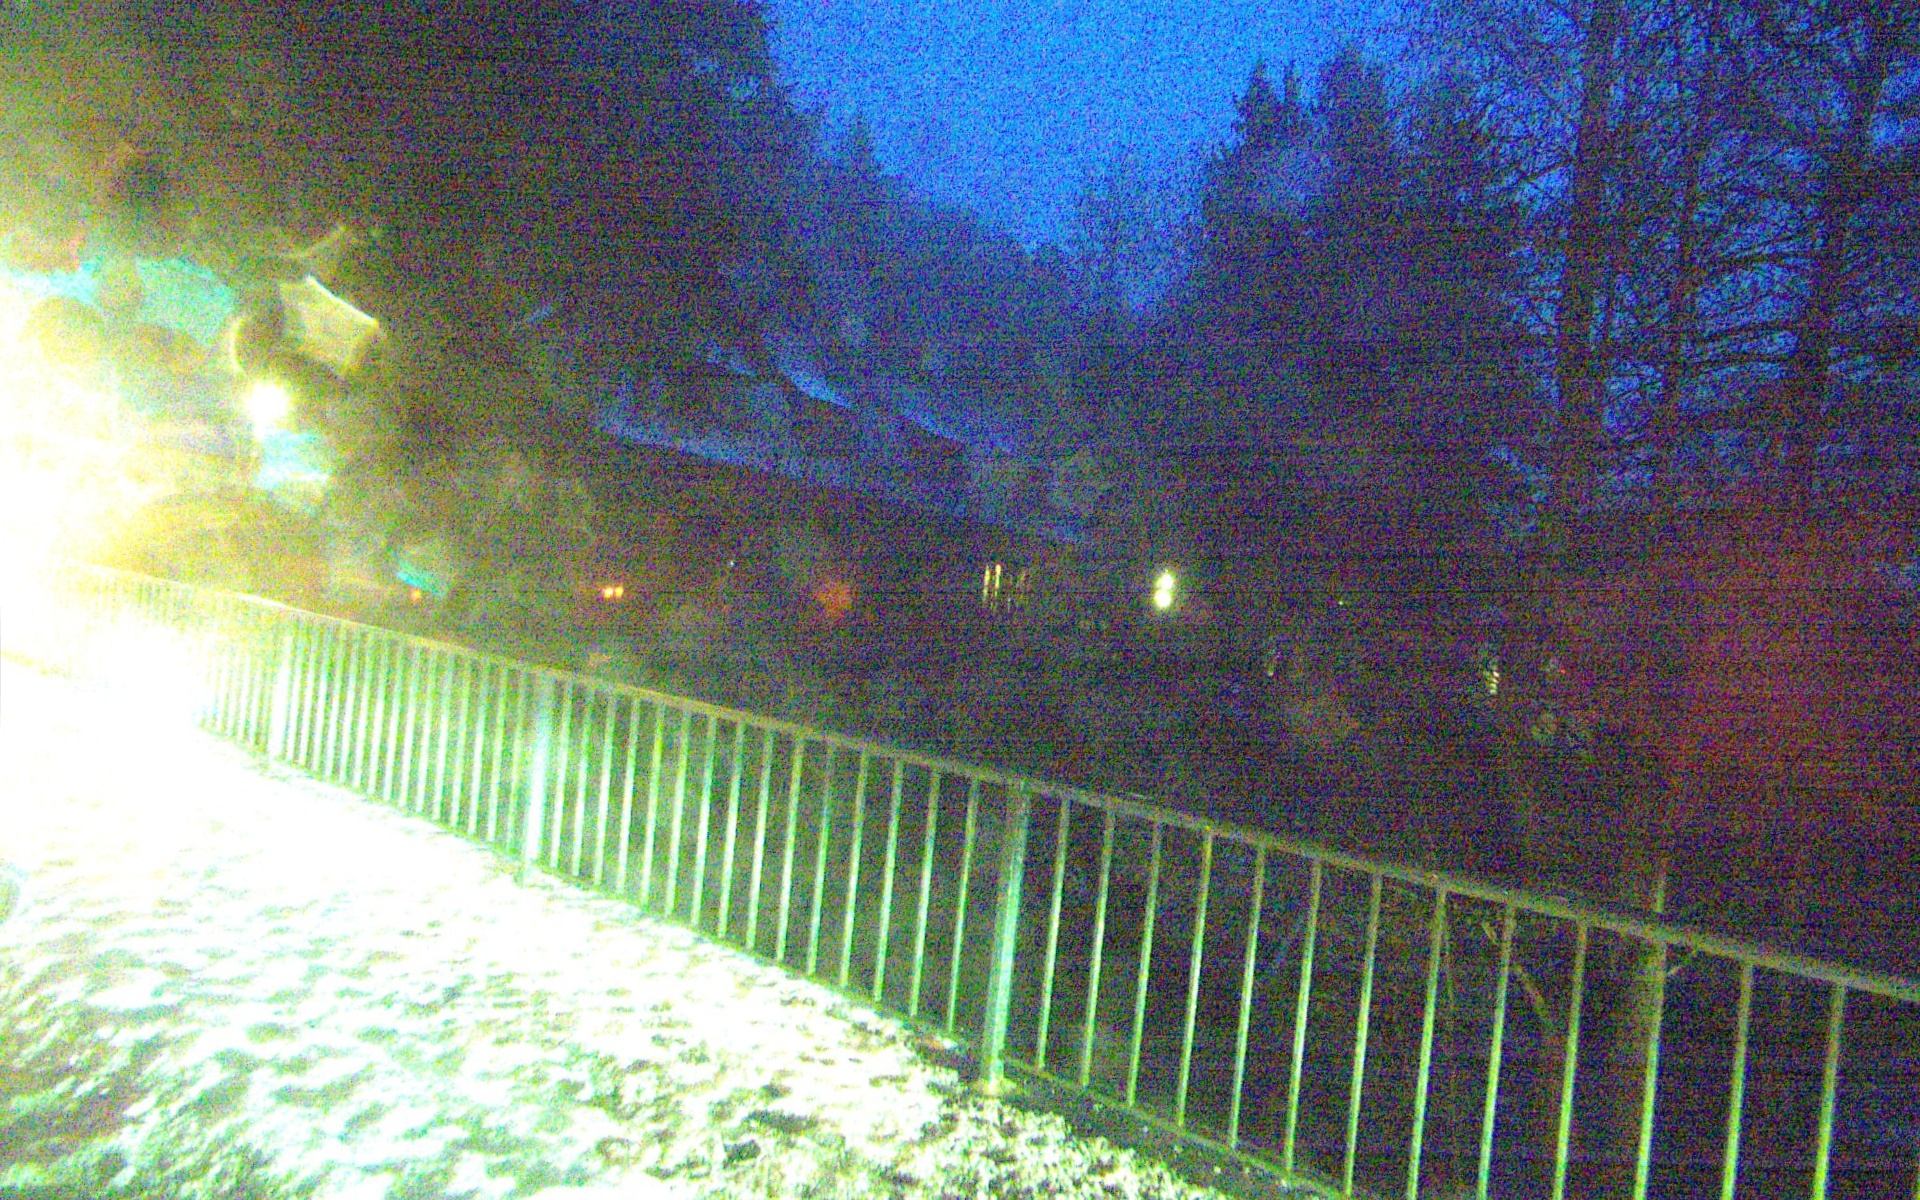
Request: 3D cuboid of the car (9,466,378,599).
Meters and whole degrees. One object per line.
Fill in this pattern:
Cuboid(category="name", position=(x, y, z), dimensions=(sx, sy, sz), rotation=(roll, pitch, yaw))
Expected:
Cuboid(category="car", position=(-12.238, -1.026, 16.288), dimensions=(1.913, 1.607, 4.455), rotation=(8, 3, 43))
